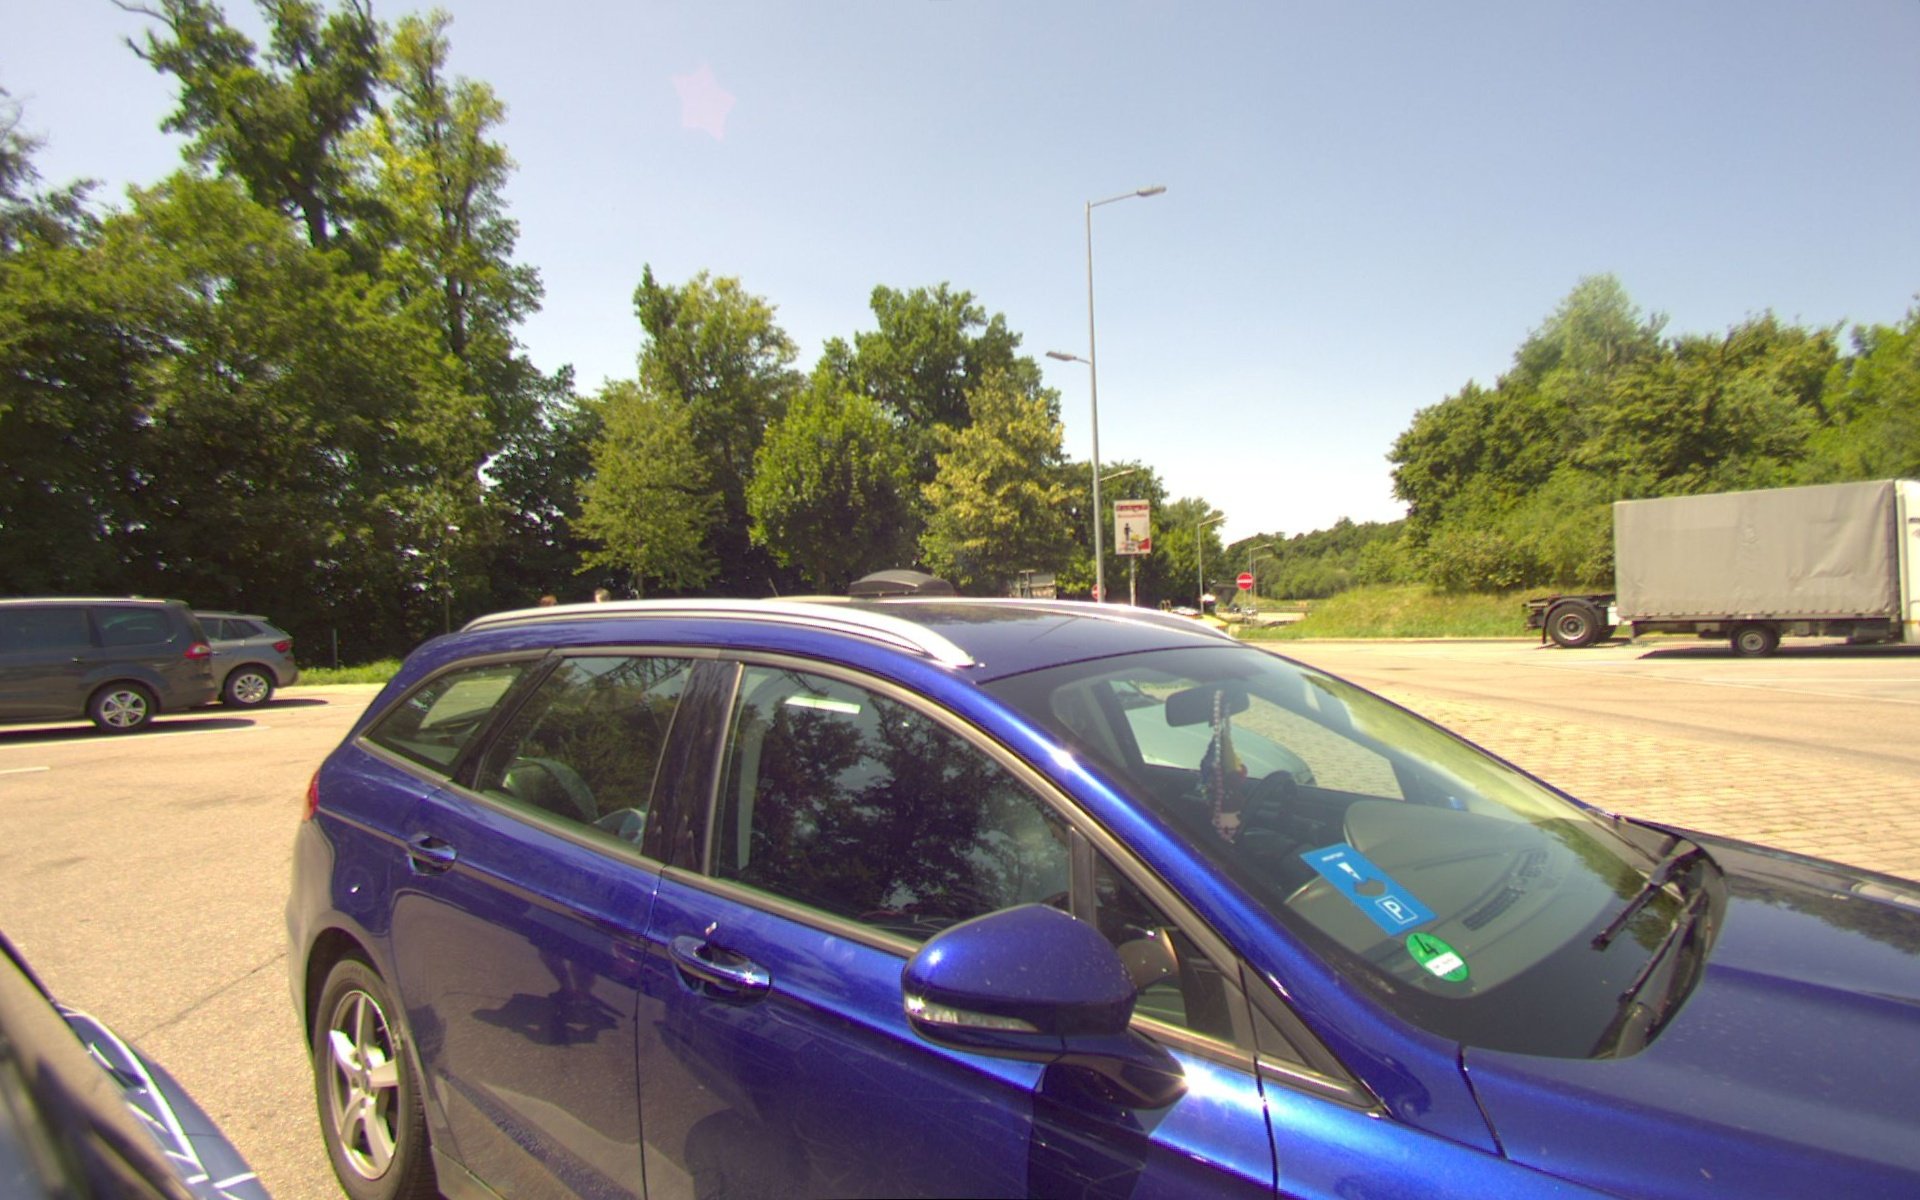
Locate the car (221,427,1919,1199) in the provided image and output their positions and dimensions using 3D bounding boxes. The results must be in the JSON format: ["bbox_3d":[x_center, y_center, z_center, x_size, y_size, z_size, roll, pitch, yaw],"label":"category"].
[{"bbox_3d":[0.242,0.662,2.154,4.490,1.502,1.851,-3,0,40],"label":"car"}]

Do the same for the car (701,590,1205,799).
[{"bbox_3d":[-0.256,0.750,9.227,4.490,1.437,1.754,-3,-1,40],"label":"car"}]

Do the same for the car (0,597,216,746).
[{"bbox_3d":[-11.953,0.857,12.318,4.553,1.725,1.741,0,-1,-41],"label":"car"}]

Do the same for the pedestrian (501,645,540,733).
[{"bbox_3d":[-5.499,1.097,12.658,0.427,1.052,0.441,-1,-1,-25],"label":"pedestrian"}]

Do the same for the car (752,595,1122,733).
[{"bbox_3d":[-0.397,0.776,12.775,4.485,1.437,1.756,-3,-1,36],"label":"car"}]

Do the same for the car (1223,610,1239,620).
[{"bbox_3d":[53.274,2.944,199.046,1.873,1.829,4.003,-1,0,-3],"label":"car"}]

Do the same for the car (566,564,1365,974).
[{"bbox_3d":[-0.269,0.695,5.853,4.490,1.511,1.754,-3,-1,40],"label":"car"}]

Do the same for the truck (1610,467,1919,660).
[{"bbox_3d":[16.817,-0.651,18.979,7.295,3.259,2.709,-4,-1,43],"label":"truck"}]

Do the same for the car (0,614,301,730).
[{"bbox_3d":[-12.607,1.002,15.482,1.687,1.515,3.943,-1,0,43],"label":"car"}]

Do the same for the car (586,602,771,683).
[{"bbox_3d":[-6.548,0.917,24.147,1.985,1.725,4.586,-1,0,20],"label":"car"}]

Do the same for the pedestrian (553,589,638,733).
[{"bbox_3d":[-4.611,0.744,12.792,0.820,1.746,0.677,0,-1,-38],"label":"pedestrian"}]

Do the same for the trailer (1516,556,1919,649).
[{"bbox_3d":[17.244,0.129,23.407,7.295,1.701,2.235,-4,-1,43],"label":"trailer"}]

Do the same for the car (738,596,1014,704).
[{"bbox_3d":[-1.488,0.827,16.874,4.485,1.562,1.756,-3,-1,36],"label":"car"}]

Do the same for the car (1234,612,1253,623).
[{"bbox_3d":[49.117,3.004,175.582,1.873,1.829,4.003,-1,0,-3],"label":"car"}]

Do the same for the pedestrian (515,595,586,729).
[{"bbox_3d":[-5.347,0.786,13.246,0.819,1.676,0.678,-1,-1,-20],"label":"pedestrian"}]
